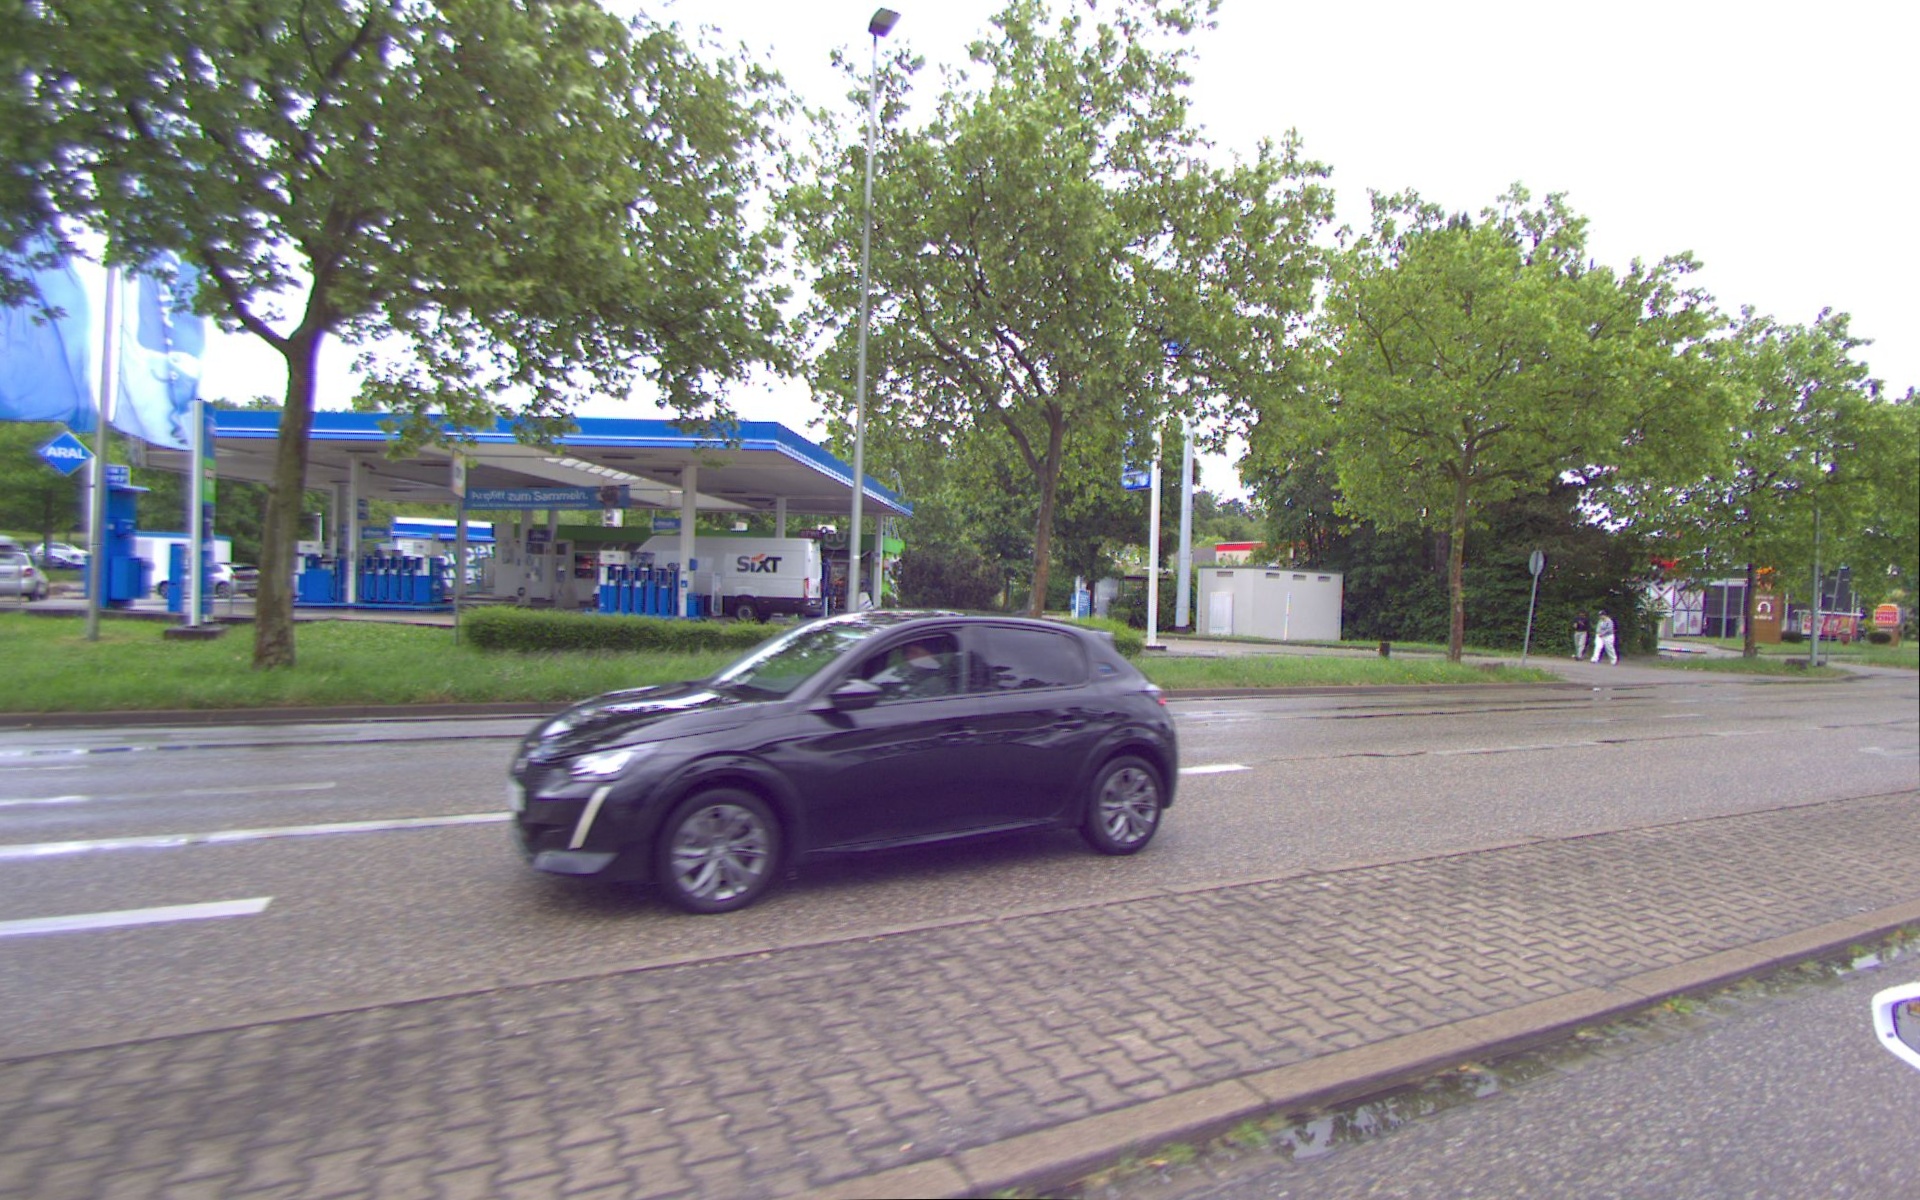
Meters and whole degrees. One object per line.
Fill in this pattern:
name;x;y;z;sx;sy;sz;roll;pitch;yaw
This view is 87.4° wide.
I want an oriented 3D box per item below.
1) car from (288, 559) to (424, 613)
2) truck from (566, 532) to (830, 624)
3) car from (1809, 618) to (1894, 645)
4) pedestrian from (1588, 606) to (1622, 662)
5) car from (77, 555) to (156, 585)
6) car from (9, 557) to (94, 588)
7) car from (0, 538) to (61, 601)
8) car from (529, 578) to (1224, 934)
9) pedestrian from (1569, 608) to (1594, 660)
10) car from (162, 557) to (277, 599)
car;-22.941;-0.565;38.253;4.045;1.832;1.946;2;4;4
truck;-8.126;-0.677;31.596;7.714;2.711;2.156;1;0;4
car;48.457;1.689;54.655;1.273;1.171;3.164;1;3;-26
pedestrian;21.135;1.121;32.929;0.573;1.790;0.665;2;1;-11
car;-56.356;-1.976;67.178;3.662;1.773;1.686;2;-1;-26
car;-54.894;-1.665;60.773;3.425;1.676;1.605;2;-1;-26
car;-29.145;-0.917;30.975;1.798;1.821;3.660;2;-1;-38
car;-0.389;0.711;6.043;3.850;1.528;1.634;1;0;-32
pedestrian;20.802;1.132;33.605;0.534;1.705;0.509;1;0;-32
car;-32.906;-0.978;44.697;3.919;1.751;1.796;1;0;6
